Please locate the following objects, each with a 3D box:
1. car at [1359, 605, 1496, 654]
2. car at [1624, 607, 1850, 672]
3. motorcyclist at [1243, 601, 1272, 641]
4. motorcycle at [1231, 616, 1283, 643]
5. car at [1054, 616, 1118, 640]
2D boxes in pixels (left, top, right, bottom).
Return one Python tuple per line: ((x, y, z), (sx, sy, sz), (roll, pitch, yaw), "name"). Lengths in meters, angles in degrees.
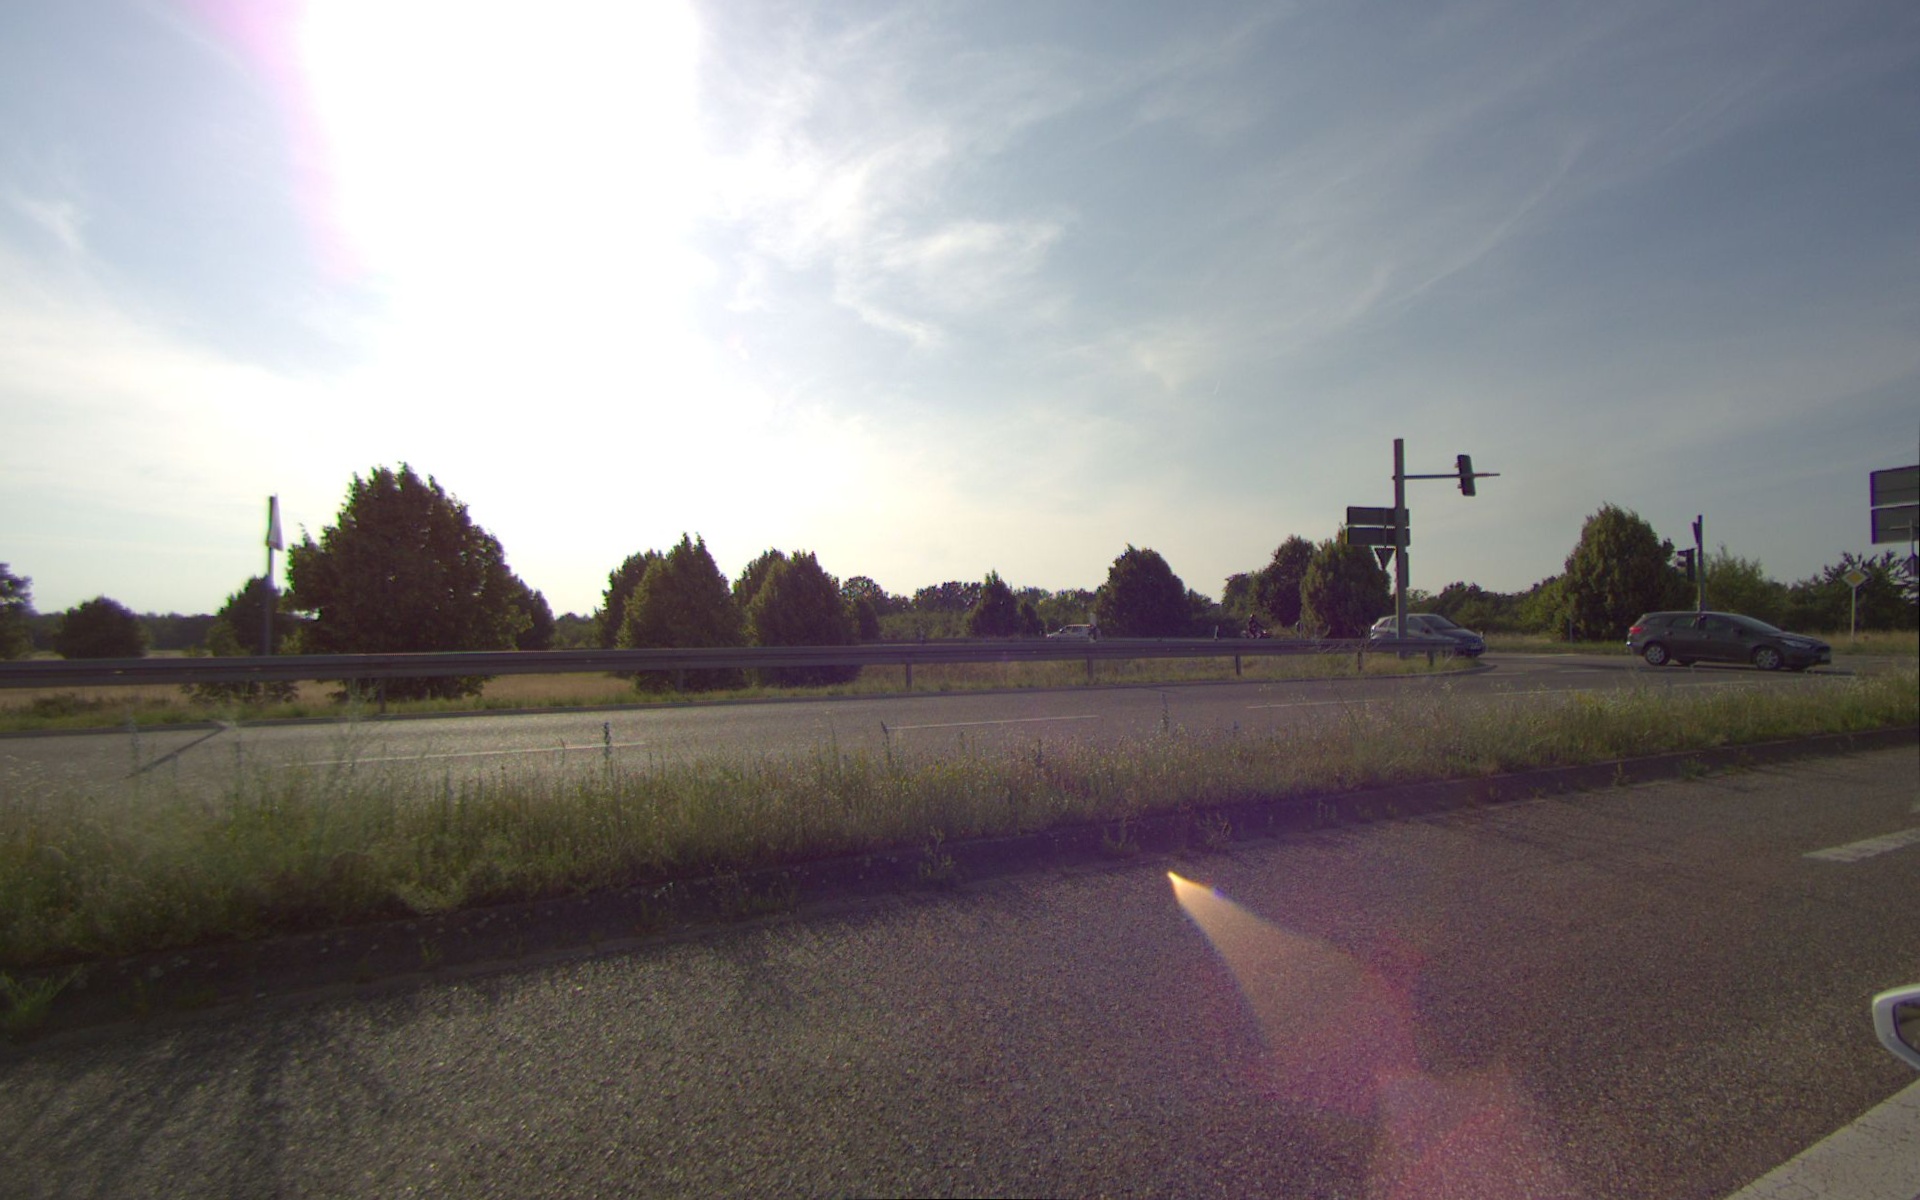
((16.751, 1.044, 36.185), (1.772, 1.626, 4.155), (2, -1, -35), "car")
((20.661, 0.992, 26.953), (1.791, 1.586, 4.502), (1, 0, -25), "car")
((13.408, 0.942, 45.268), (0.897, 1.781, 0.824), (1, 0, -33), "motorcyclist")
((13.398, 1.300, 45.358), (0.930, 1.139, 2.151), (1, 0, -32), "motorcycle")
((8.398, 1.833, 66.989), (1.985, 1.560, 3.952), (1, -1, -41), "car")
